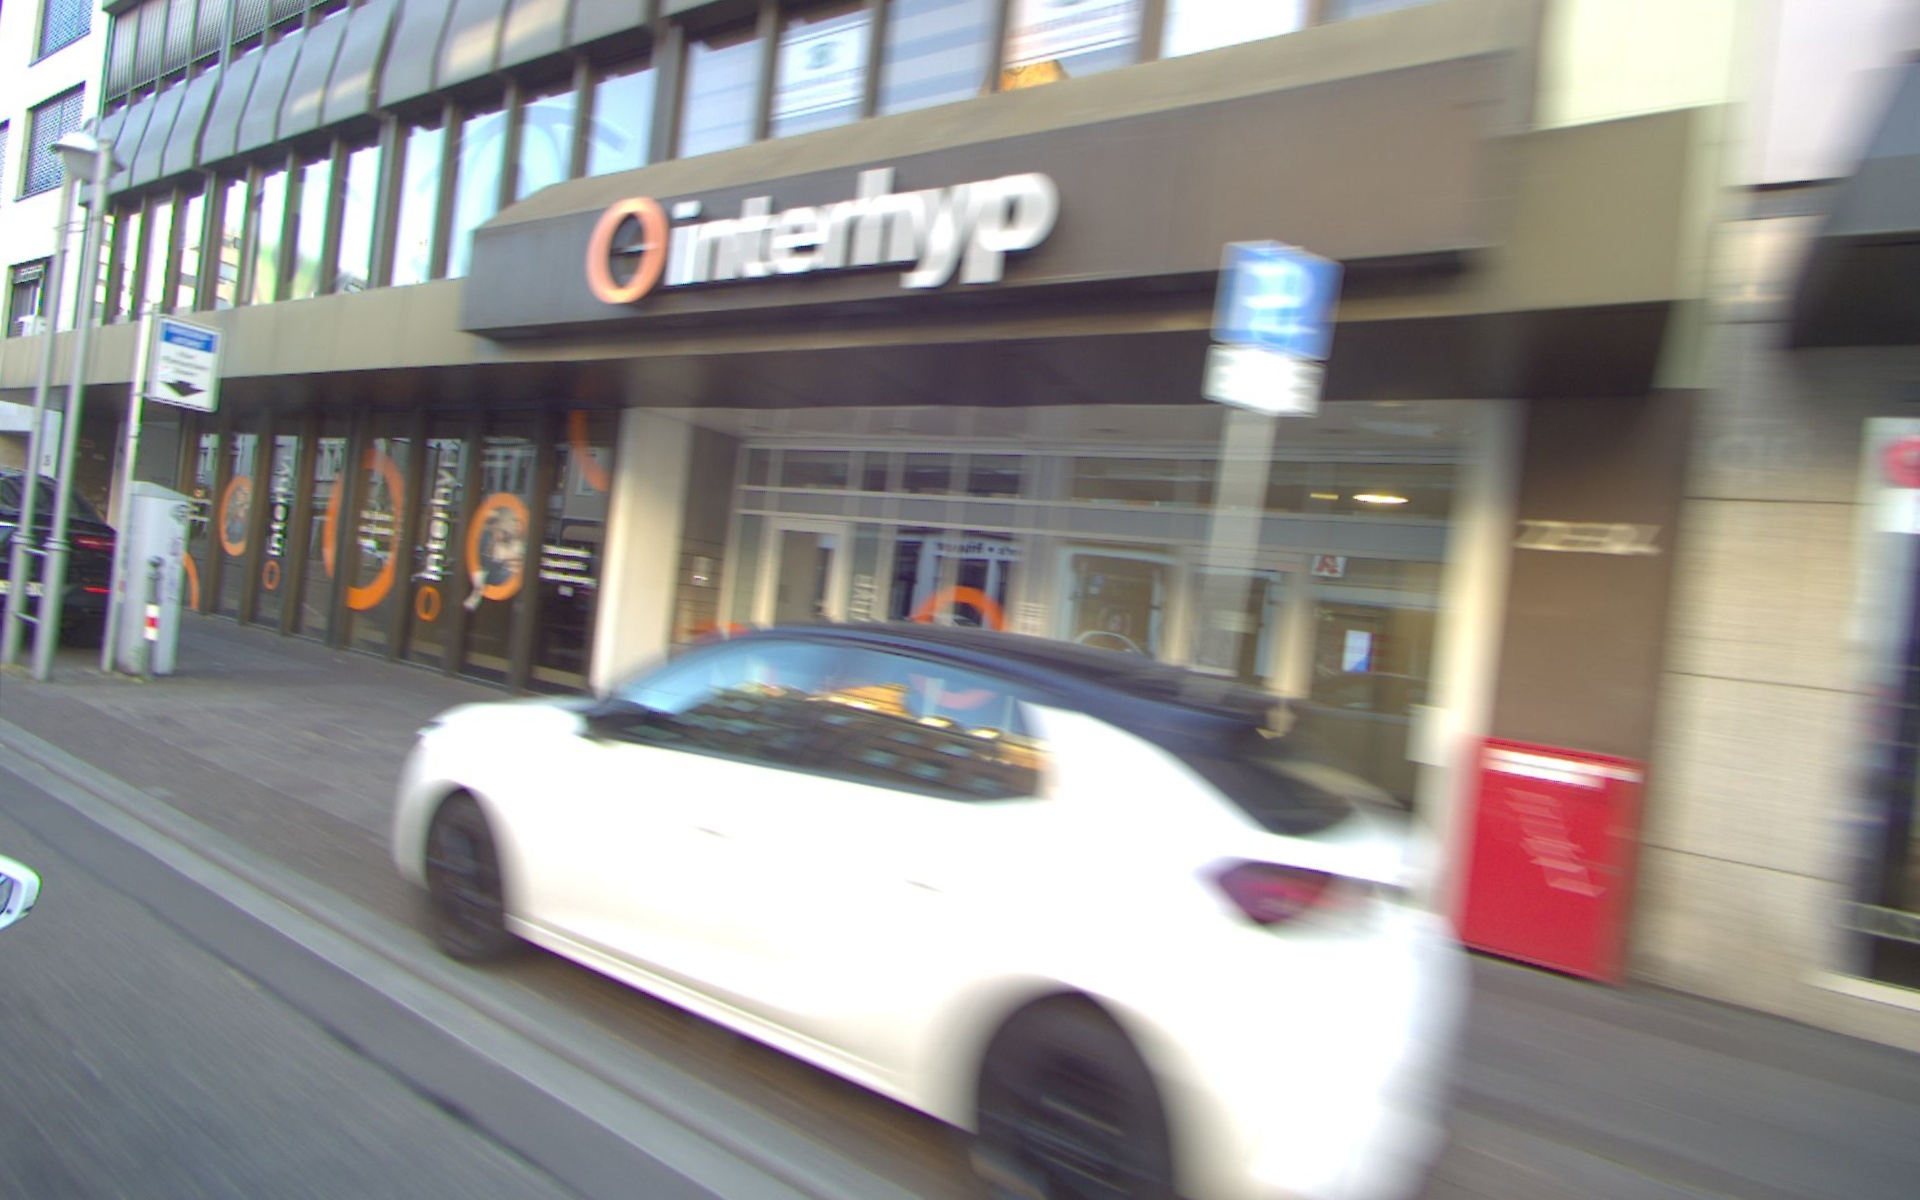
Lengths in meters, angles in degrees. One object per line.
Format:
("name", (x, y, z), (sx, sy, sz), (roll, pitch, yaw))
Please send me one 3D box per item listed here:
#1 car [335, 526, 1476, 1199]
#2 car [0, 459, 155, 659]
("car", (-0.378, 0.673, 3.725), (3.809, 1.505, 1.766), (7, 2, 33))
("car", (-10.295, -0.567, 10.202), (4.595, 1.757, 1.984), (7, 2, 34))
